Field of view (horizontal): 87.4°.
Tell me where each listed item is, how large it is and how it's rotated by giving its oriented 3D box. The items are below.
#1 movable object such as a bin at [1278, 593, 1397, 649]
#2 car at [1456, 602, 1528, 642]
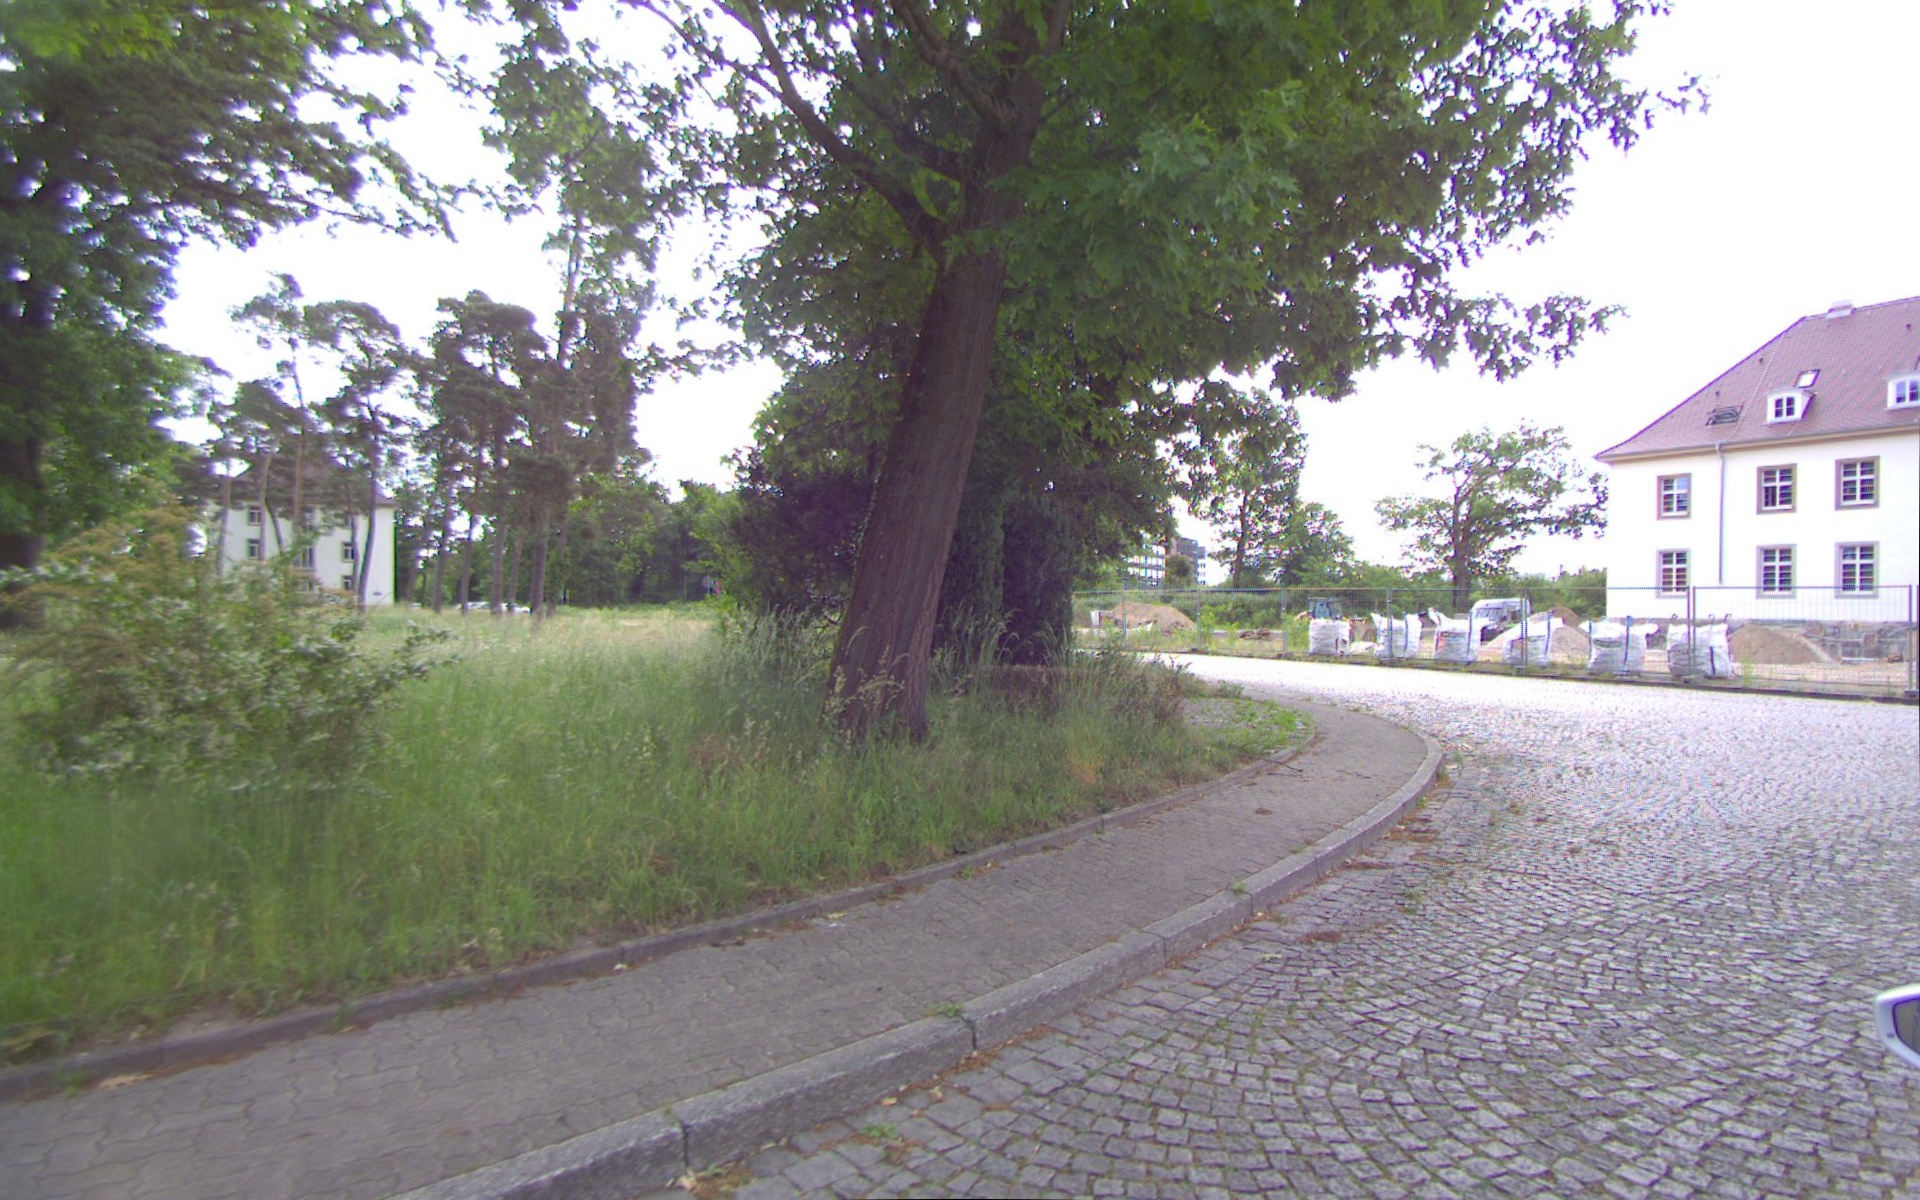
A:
[{"bbox_3d":[18.470,0.978,49.386,1.980,2.590,5.293,1,0,-35],"label":"movable object such as a bin"},{"bbox_3d":[30.614,1.263,57.734,4.861,2.179,2.049,1,0,-41],"label":"car"}]
